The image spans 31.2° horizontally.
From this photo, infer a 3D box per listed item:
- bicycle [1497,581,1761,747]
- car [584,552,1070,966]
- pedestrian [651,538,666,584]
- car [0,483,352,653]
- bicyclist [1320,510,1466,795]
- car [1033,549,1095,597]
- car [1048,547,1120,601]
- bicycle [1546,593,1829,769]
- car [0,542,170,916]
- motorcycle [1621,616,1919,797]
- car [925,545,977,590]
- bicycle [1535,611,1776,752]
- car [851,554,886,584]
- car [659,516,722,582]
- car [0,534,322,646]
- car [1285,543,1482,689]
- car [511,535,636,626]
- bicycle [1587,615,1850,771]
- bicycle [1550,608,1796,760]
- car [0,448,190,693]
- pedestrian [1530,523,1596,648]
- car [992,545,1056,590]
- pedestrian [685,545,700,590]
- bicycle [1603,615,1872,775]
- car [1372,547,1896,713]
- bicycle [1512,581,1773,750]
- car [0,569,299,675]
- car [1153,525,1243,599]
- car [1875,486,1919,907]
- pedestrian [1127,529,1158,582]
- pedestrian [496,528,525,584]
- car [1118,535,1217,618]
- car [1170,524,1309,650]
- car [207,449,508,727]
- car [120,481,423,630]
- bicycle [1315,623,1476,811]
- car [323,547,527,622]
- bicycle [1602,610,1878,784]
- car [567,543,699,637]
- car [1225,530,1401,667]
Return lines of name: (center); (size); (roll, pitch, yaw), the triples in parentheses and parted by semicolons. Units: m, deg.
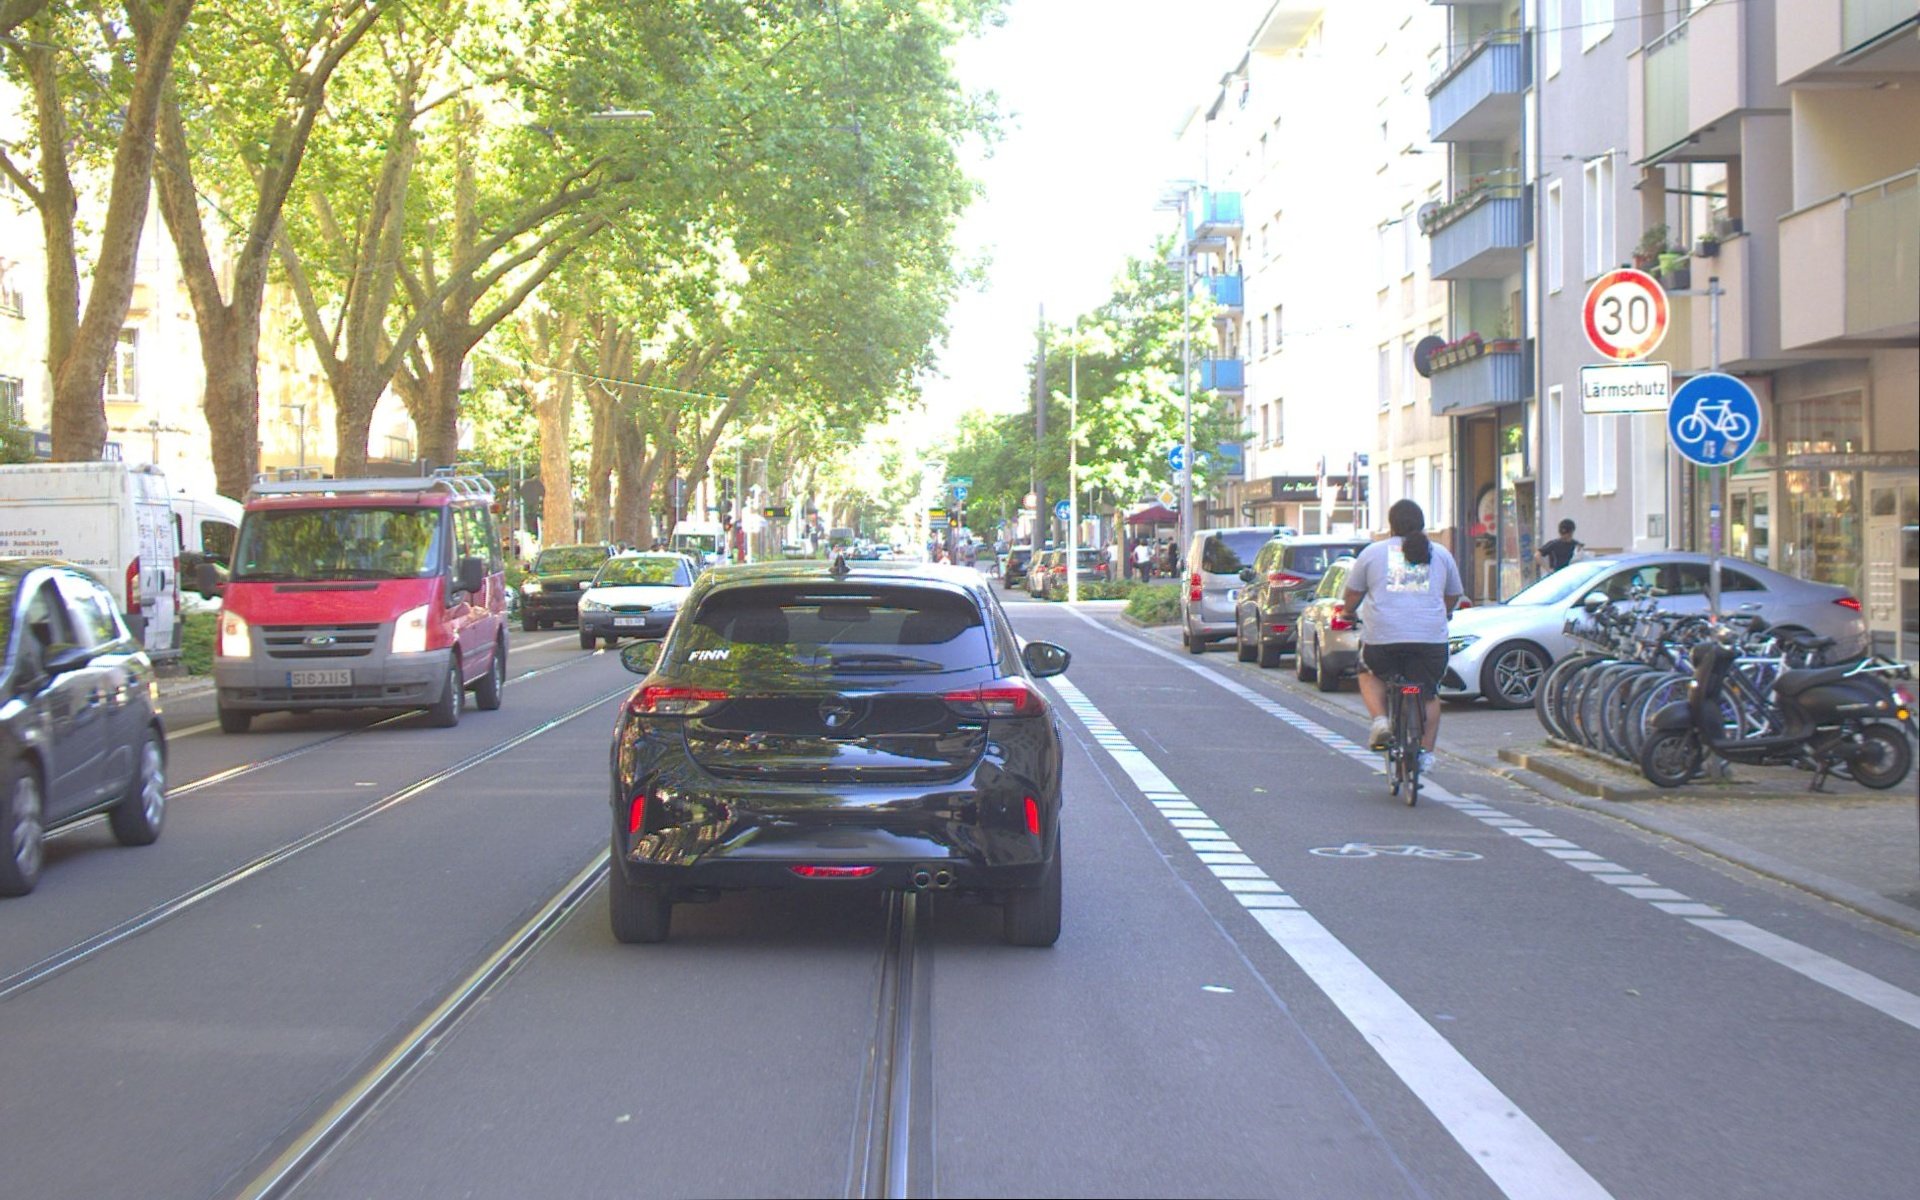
bicycle: (5.107, 0.486, 26.283); (1.892, 1.187, 0.457); (-2, 1, 0)
car: (-0.496, 0.541, 13.923); (1.679, 1.418, 3.628); (1, 1, -1)
pedestrian: (-10.486, -1.360, 119.673); (0.506, 1.577, 0.527); (0, 1, -4)
car: (-11.919, -0.475, 51.160); (5.360, 2.469, 2.057); (0, 1, 0)
bicyclist: (2.708, 0.317, 21.581); (0.786, 1.753, 0.915); (0, 0, -1)
car: (3.264, -0.881, 108.855); (1.718, 1.485, 3.682); (0, 1, -2)
car: (3.698, -0.795, 103.358); (1.718, 1.568, 4.085); (0, 1, -4)
bicycle: (5.087, 0.560, 24.110); (1.793, 1.144, 0.704); (-2, 1, 0)
car: (-4.795, 0.493, 15.649); (1.718, 1.504, 3.723); (0, 1, -3)
motorcycle: (5.076, 0.652, 21.313); (1.820, 1.076, 0.616); (-1, 0, 23)
car: (-0.311, -1.208, 127.945); (1.858, 1.646, 4.000); (0, 1, 1)
bicycle: (5.111, 0.598, 25.309); (1.652, 0.963, 0.457); (-2, 1, 0)
car: (-5.022, -1.711, 188.597); (1.750, 1.646, 4.000); (0, 1, 1)
car: (-10.647, -2.033, 136.149); (2.092, 2.575, 5.997); (0, 1, -1)
car: (-11.384, -0.152, 48.647); (4.370, 1.533, 1.872); (0, 1, 0)
car: (4.663, 0.131, 38.388); (1.724, 1.520, 4.513); (0, 1, 1)
car: (-7.718, -0.417, 68.969); (1.993, 1.694, 4.485); (-2, 1, -1)
bicycle: (5.151, 0.626, 23.387); (1.652, 0.983, 0.457); (-2, 1, 0)
bicycle: (5.135, 0.602, 24.800); (1.652, 1.017, 0.457); (-2, 1, 0)
car: (-11.361, -0.347, 36.789); (5.740, 2.527, 2.162); (1, 1, 0)
pedestrian: (8.304, -0.203, 47.348); (0.756, 1.714, 0.720); (0, 1, -2)
car: (2.375, -1.215, 127.867); (1.993, 1.634, 4.001); (0, 1, -4)
pedestrian: (-9.304, -1.124, 119.647); (0.506, 1.577, 0.527); (0, 1, -1)
bicycle: (5.159, 0.628, 22.854); (1.652, 0.983, 0.457); (-2, 1, 0)
car: (6.517, 0.258, 33.429); (4.612, 1.432, 1.865); (-2, 1, -11)
bicycle: (5.111, 0.483, 25.792); (1.823, 1.187, 0.457); (-2, 1, 0)
car: (-11.341, 0.277, 46.568); (4.409, 1.380, 1.933); (0, 1, 0)
car: (5.393, -0.883, 78.378); (1.858, 1.646, 4.000); (0, 1, 1)
car: (5.092, 0.437, 13.329); (1.858, 1.814, 4.351); (0, 1, -1)
pedestrian: (6.003, -1.471, 113.175); (0.769, 1.742, 0.794); (0, 1, 28)
pedestrian: (-14.874, -1.450, 113.775); (0.905, 1.862, 0.644); (0, 1, -6)
car: (4.212, -0.501, 70.232); (1.858, 1.646, 4.000); (0, 1, 1)
car: (4.314, -0.230, 53.701); (1.858, 1.883, 4.924); (0, 1, 1)
car: (-5.135, -0.136, 29.931); (1.917, 2.219, 4.961); (0, 1, -2)
car: (-11.992, -0.783, 60.122); (4.943, 2.559, 2.083); (0, 1, -3)
bicycle: (2.734, 0.716, 21.753); (0.701, 1.088, 1.990); (2, 0, -1)
car: (-11.058, -0.334, 71.293); (3.986, 1.516, 1.771); (0, 1, -1)
bicycle: (5.044, 0.624, 22.265); (1.652, 1.051, 0.457); (-2, 1, 0)
car: (-4.860, -0.177, 51.598); (1.718, 1.354, 4.470); (0, 1, -2)
car: (4.558, -0.055, 44.879); (1.766, 1.699, 4.283); (0, 1, -1)
